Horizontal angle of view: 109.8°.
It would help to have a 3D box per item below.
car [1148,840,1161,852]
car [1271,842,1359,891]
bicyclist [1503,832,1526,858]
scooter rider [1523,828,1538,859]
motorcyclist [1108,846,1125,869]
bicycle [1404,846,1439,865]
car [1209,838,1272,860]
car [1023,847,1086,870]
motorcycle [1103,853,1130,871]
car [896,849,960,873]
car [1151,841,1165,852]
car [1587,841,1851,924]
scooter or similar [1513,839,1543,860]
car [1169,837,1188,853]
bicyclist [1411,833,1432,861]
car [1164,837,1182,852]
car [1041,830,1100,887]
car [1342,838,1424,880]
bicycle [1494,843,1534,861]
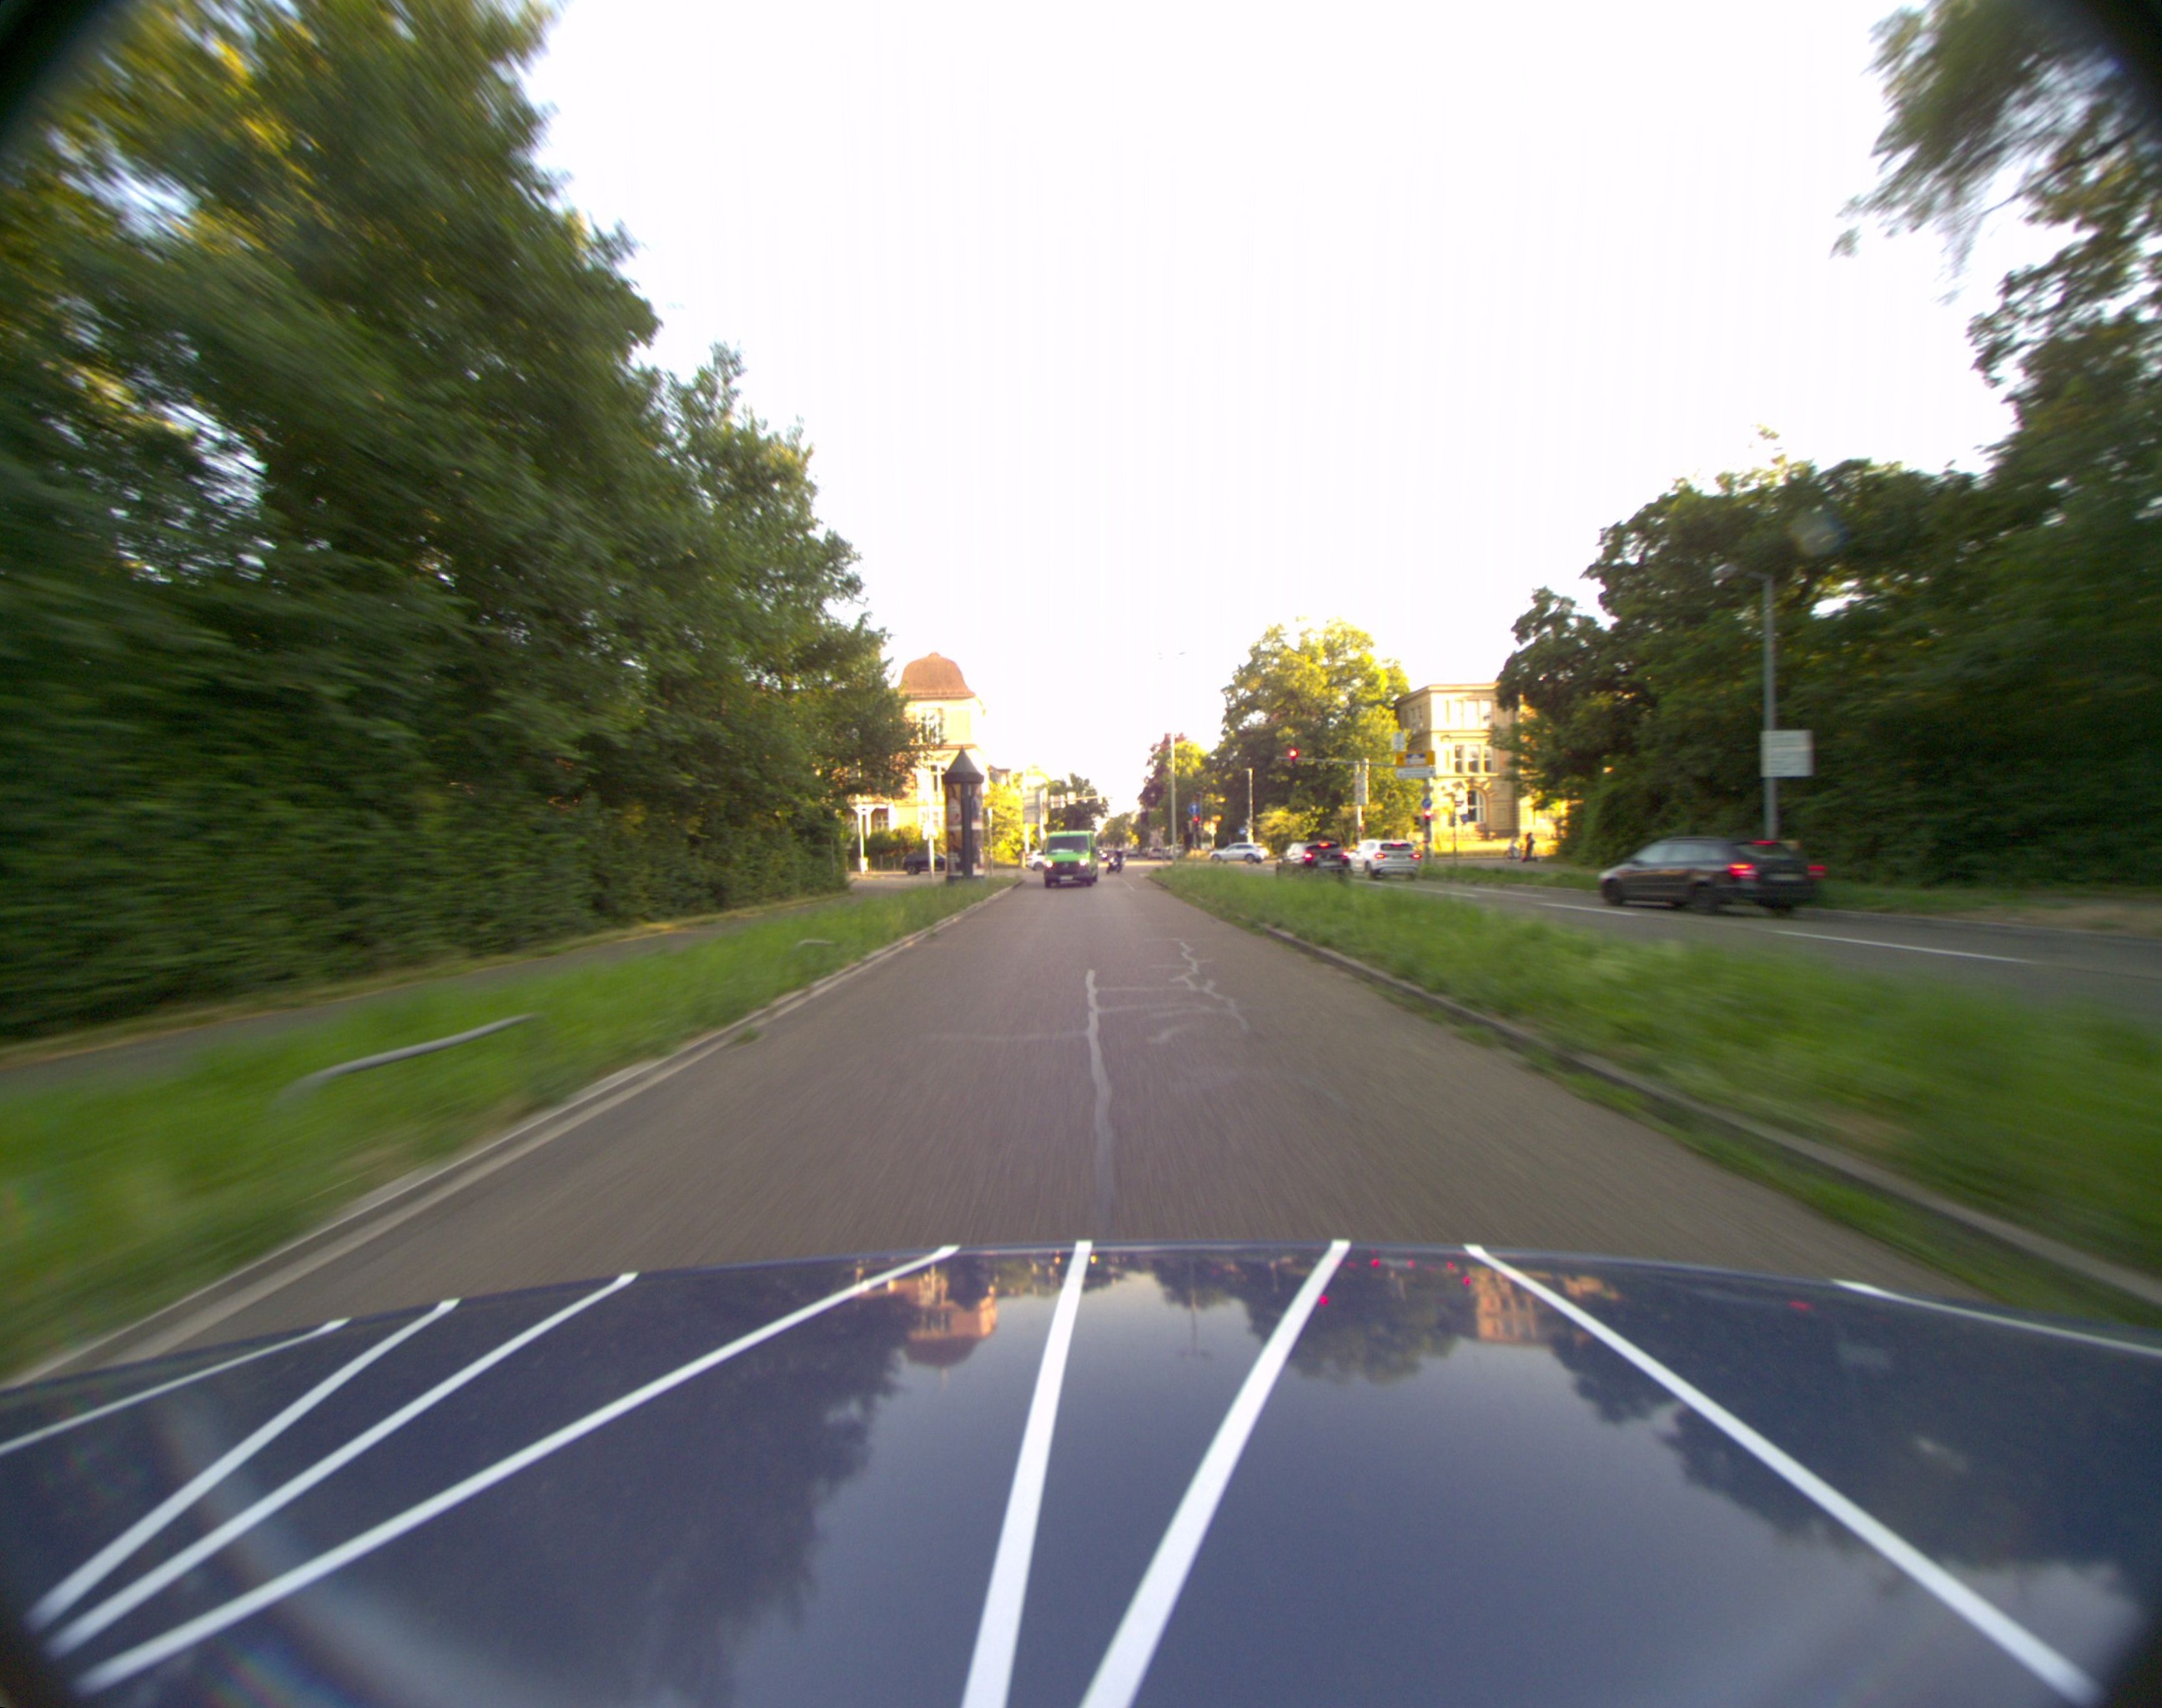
[{"bbox_3d":[12.967,-1.442,133.670,1.998,2.003,3.998,-1,3,1],"label":"car"},{"bbox_3d":[8.315,0.390,27.391,1.818,1.618,4.450,0,1,0],"label":"car"},{"bbox_3d":[25.698,-0.517,45.030,0.857,1.509,0.761,-2,2,-11],"label":"bicyclist"},{"bbox_3d":[26.039,-0.590,44.002,0.504,1.756,0.567,-1,1,1],"label":"scooter rider"},{"bbox_3d":[2.076,0.185,44.525,0.750,1.350,0.705,0,1,30],"label":"motorcyclist"},{"bbox_3d":[19.012,0.061,42.375,1.803,1.008,0.564,-1,1,-14],"label":"bicycle"},{"bbox_3d":[12.693,-0.401,60.598,4.500,1.626,1.774,-1,1,33],"label":"car"},{"bbox_3d":[-1.876,0.287,53.256,4.188,1.457,1.756,-2,1,-8],"label":"car"},{"bbox_3d":[2.080,0.479,44.540,0.754,0.995,1.882,-1,1,30],"label":"motorcycle"},{"bbox_3d":[-10.345,0.480,51.618,3.997,1.527,1.683,-1,1,-1],"label":"car"},{"bbox_3d":[11.652,-1.137,115.077,1.936,1.633,4.000,-1,1,2],"label":"car"},{"bbox_3d":[12.696,0.470,15.560,1.827,1.471,4.232,0,1,0],"label":"car"},{"bbox_3d":[25.871,-0.286,44.015,1.421,1.182,0.563,-1,2,1],"label":"scooter or similar"},{"bbox_3d":[12.041,-1.136,94.077,1.861,1.835,4.119,-1,1,-1],"label":"car"},{"bbox_3d":[18.968,-0.404,42.356,0.899,1.560,0.555,-2,1,-13],"label":"bicyclist"},{"bbox_3d":[12.118,-1.246,100.212,1.861,1.835,4.187,-1,1,1],"label":"car"},{"bbox_3d":[-0.354,0.142,33.608,2.043,2.265,5.942,-1,1,4],"label":"car"},{"bbox_3d":[12.655,0.164,32.181,1.826,1.604,4.641,1,1,3],"label":"car"},{"bbox_3d":[25.670,-0.109,45.028,2.016,1.001,0.772,-2,2,-11],"label":"bicycle"}]
